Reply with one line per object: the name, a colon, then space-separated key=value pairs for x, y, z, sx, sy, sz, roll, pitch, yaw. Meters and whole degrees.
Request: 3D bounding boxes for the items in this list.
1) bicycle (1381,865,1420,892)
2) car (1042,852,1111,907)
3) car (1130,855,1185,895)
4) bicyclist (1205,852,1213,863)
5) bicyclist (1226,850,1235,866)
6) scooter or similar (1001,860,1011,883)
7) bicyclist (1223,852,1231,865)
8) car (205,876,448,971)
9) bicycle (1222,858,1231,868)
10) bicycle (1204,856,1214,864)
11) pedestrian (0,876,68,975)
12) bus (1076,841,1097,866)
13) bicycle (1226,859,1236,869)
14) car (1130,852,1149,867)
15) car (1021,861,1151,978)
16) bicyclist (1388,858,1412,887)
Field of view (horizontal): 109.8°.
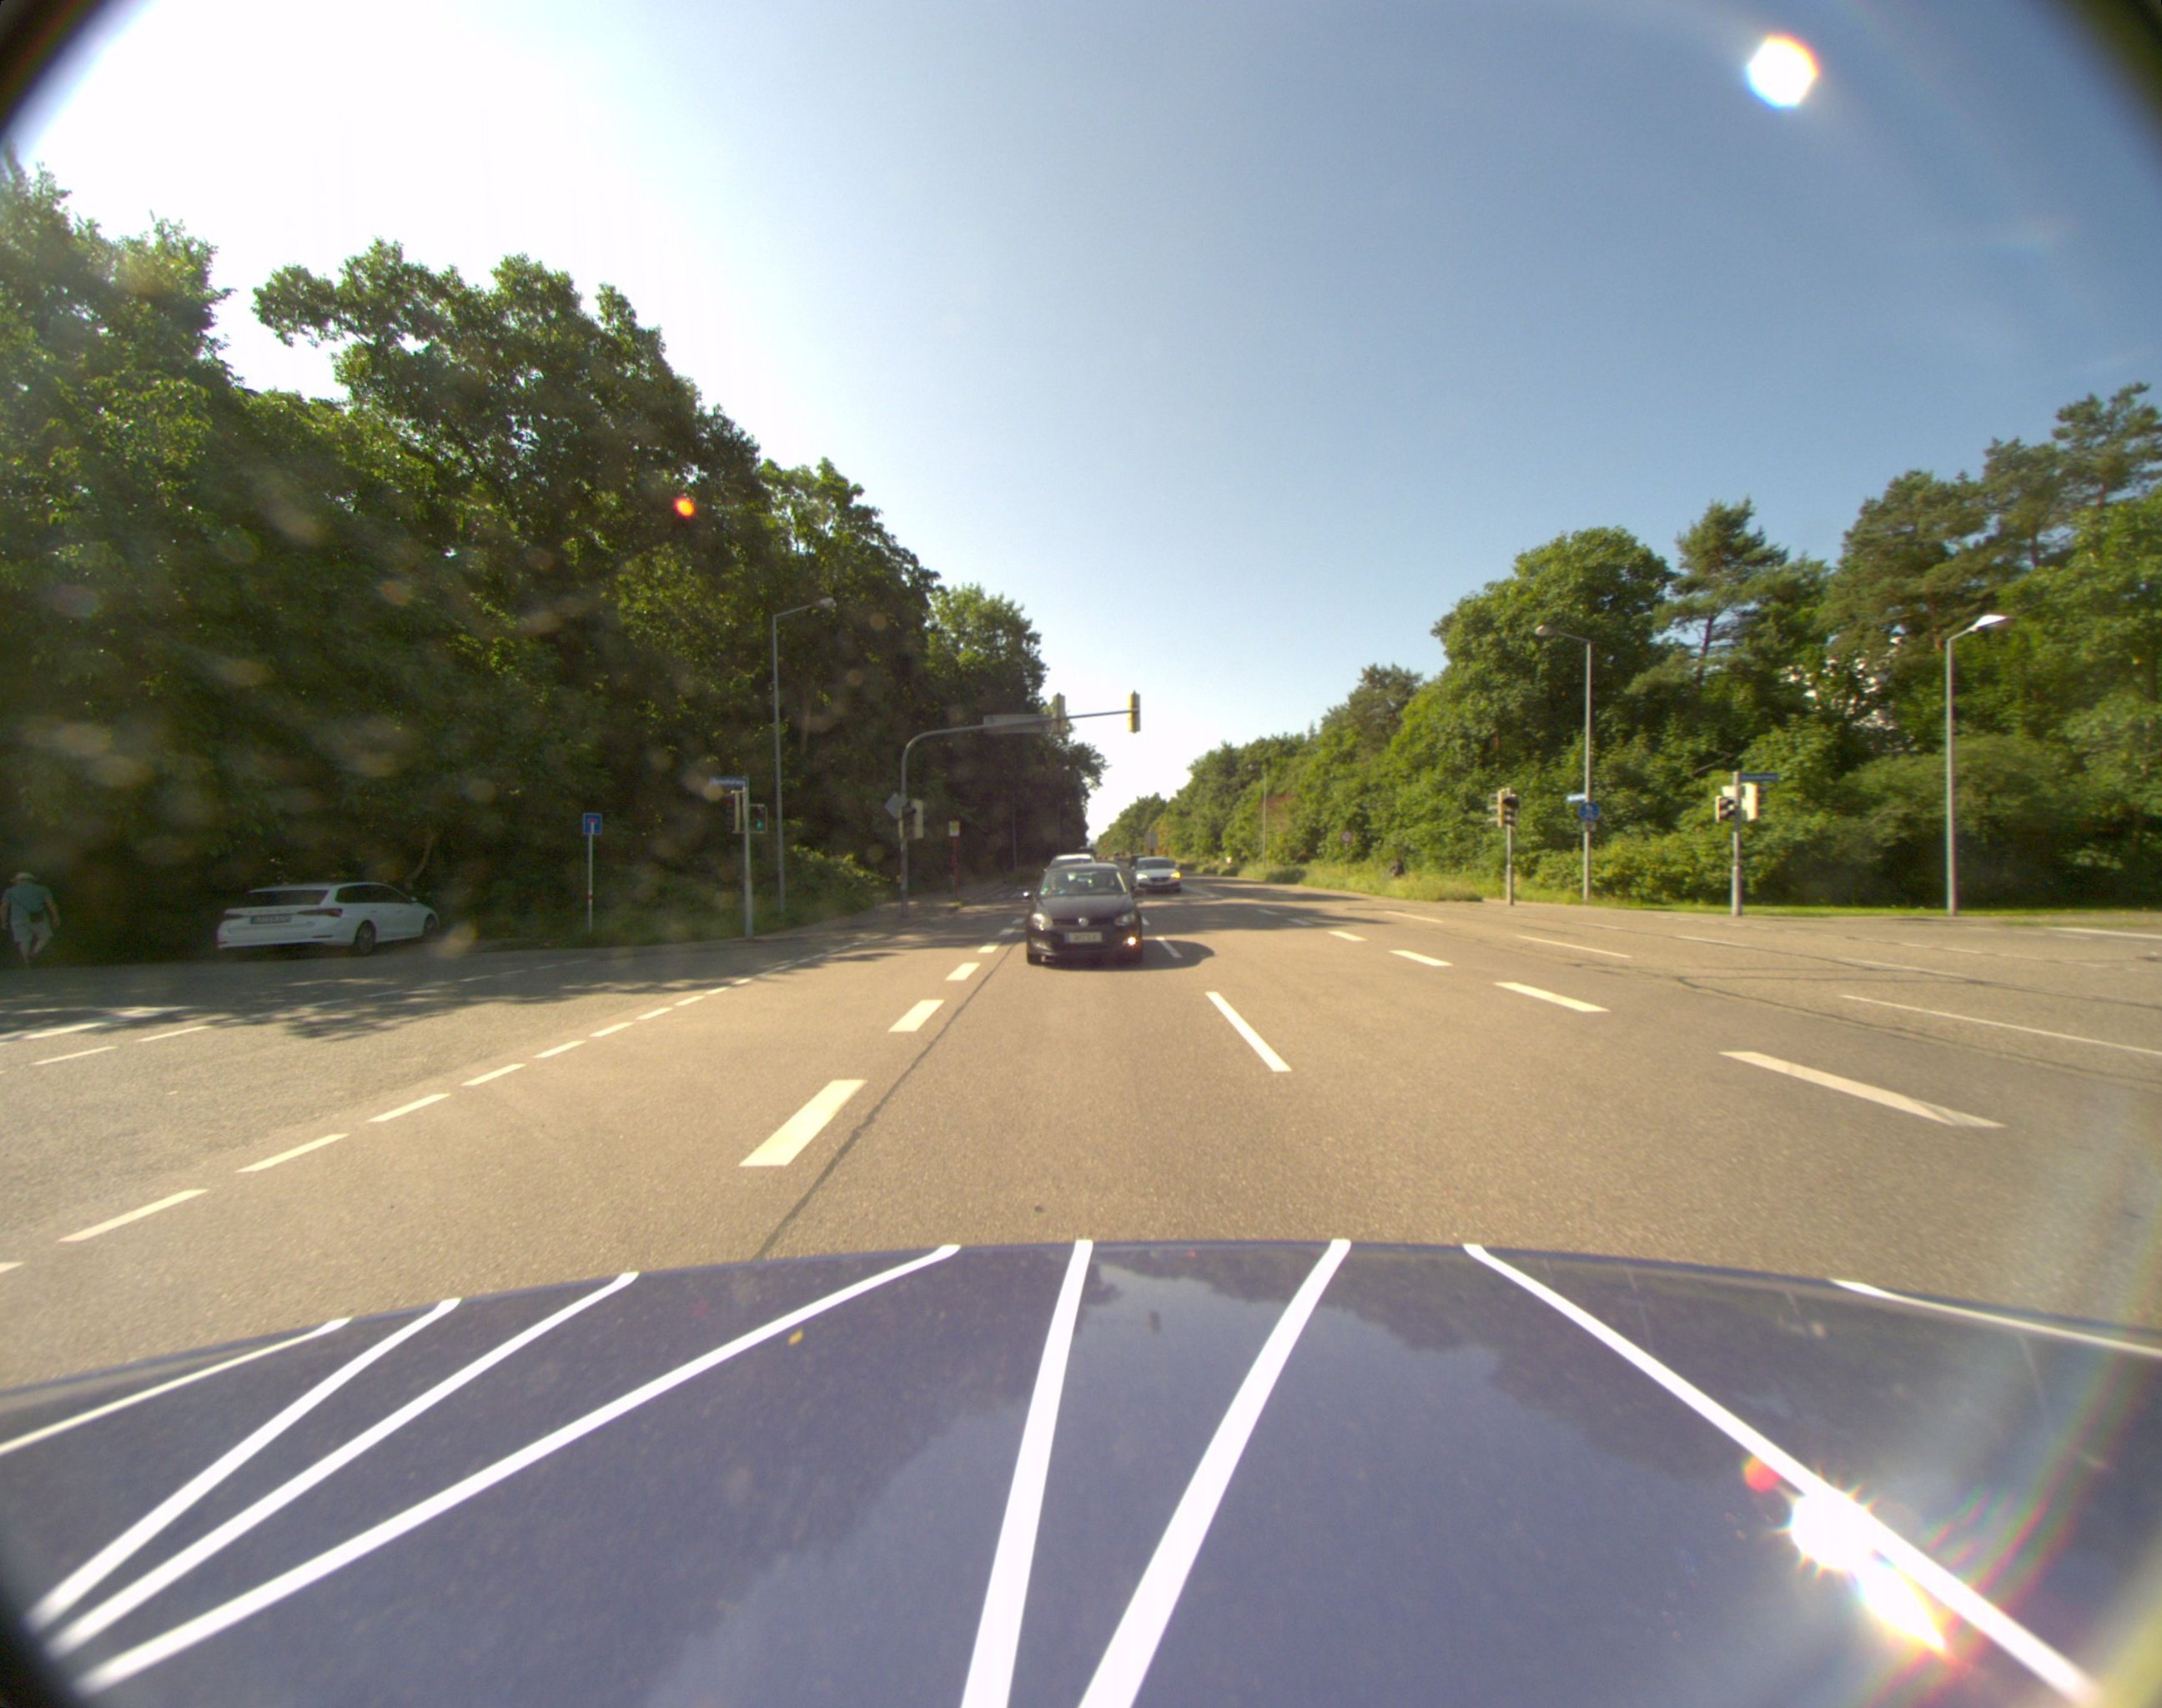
bicycle: x=14.639 y=1.092 z=34.914 sx=0.734 sy=1.156 sz=2.372 roll=-1 pitch=0 yaw=-1
car: x=-0.051 y=0.780 z=25.431 sx=1.812 sy=1.639 sz=4.309 roll=-2 pitch=0 yaw=6
car: x=3.064 y=0.808 z=31.114 sx=1.788 sy=1.416 sz=4.423 roll=-3 pitch=0 yaw=1
bicyclist: x=15.301 y=0.439 z=90.961 sx=0.676 sy=1.335 sz=0.975 roll=-3 pitch=1 yaw=-2
bicyclist: x=14.732 y=0.386 z=74.929 sx=0.612 sy=1.458 sz=0.944 roll=-3 pitch=1 yaw=2
scooter or similar: x=-4.469 y=1.024 z=45.294 sx=0.401 sy=1.299 sz=1.328 roll=-1 pitch=0 yaw=-14
bicyclist: x=15.214 y=0.480 z=79.287 sx=0.702 sy=1.256 sz=0.727 roll=-3 pitch=1 yaw=2
car: x=-14.827 y=1.248 z=15.329 sx=1.630 sy=1.455 sz=4.607 roll=-1 pitch=0 yaw=-19
bicycle: x=15.185 y=0.937 z=79.333 sx=0.605 sy=0.952 sz=2.139 roll=-1 pitch=0 yaw=2
bicycle: x=15.312 y=0.721 z=90.991 sx=0.676 sy=0.951 sz=1.913 roll=-3 pitch=1 yaw=-2
pedestrian: x=-17.816 y=1.197 z=12.939 sx=0.413 sy=1.620 sz=0.611 roll=0 pitch=1 yaw=29
bus: x=0.761 y=-0.102 z=111.516 sx=2.782 sy=3.437 sz=7.792 roll=-3 pitch=1 yaw=0
bicycle: x=14.745 y=0.966 z=74.900 sx=0.605 sy=0.909 sz=2.139 roll=-1 pitch=0 yaw=2
car: x=6.672 y=0.629 z=86.810 sx=1.795 sy=1.687 sz=4.391 roll=0 pitch=1 yaw=1
car: x=0.144 y=0.893 z=12.107 sx=1.650 sy=1.422 sz=4.055 roll=-3 pitch=0 yaw=2
bicyclist: x=14.641 y=0.841 z=34.890 sx=0.723 sy=1.303 sz=0.883 roll=-1 pitch=1 yaw=-2
